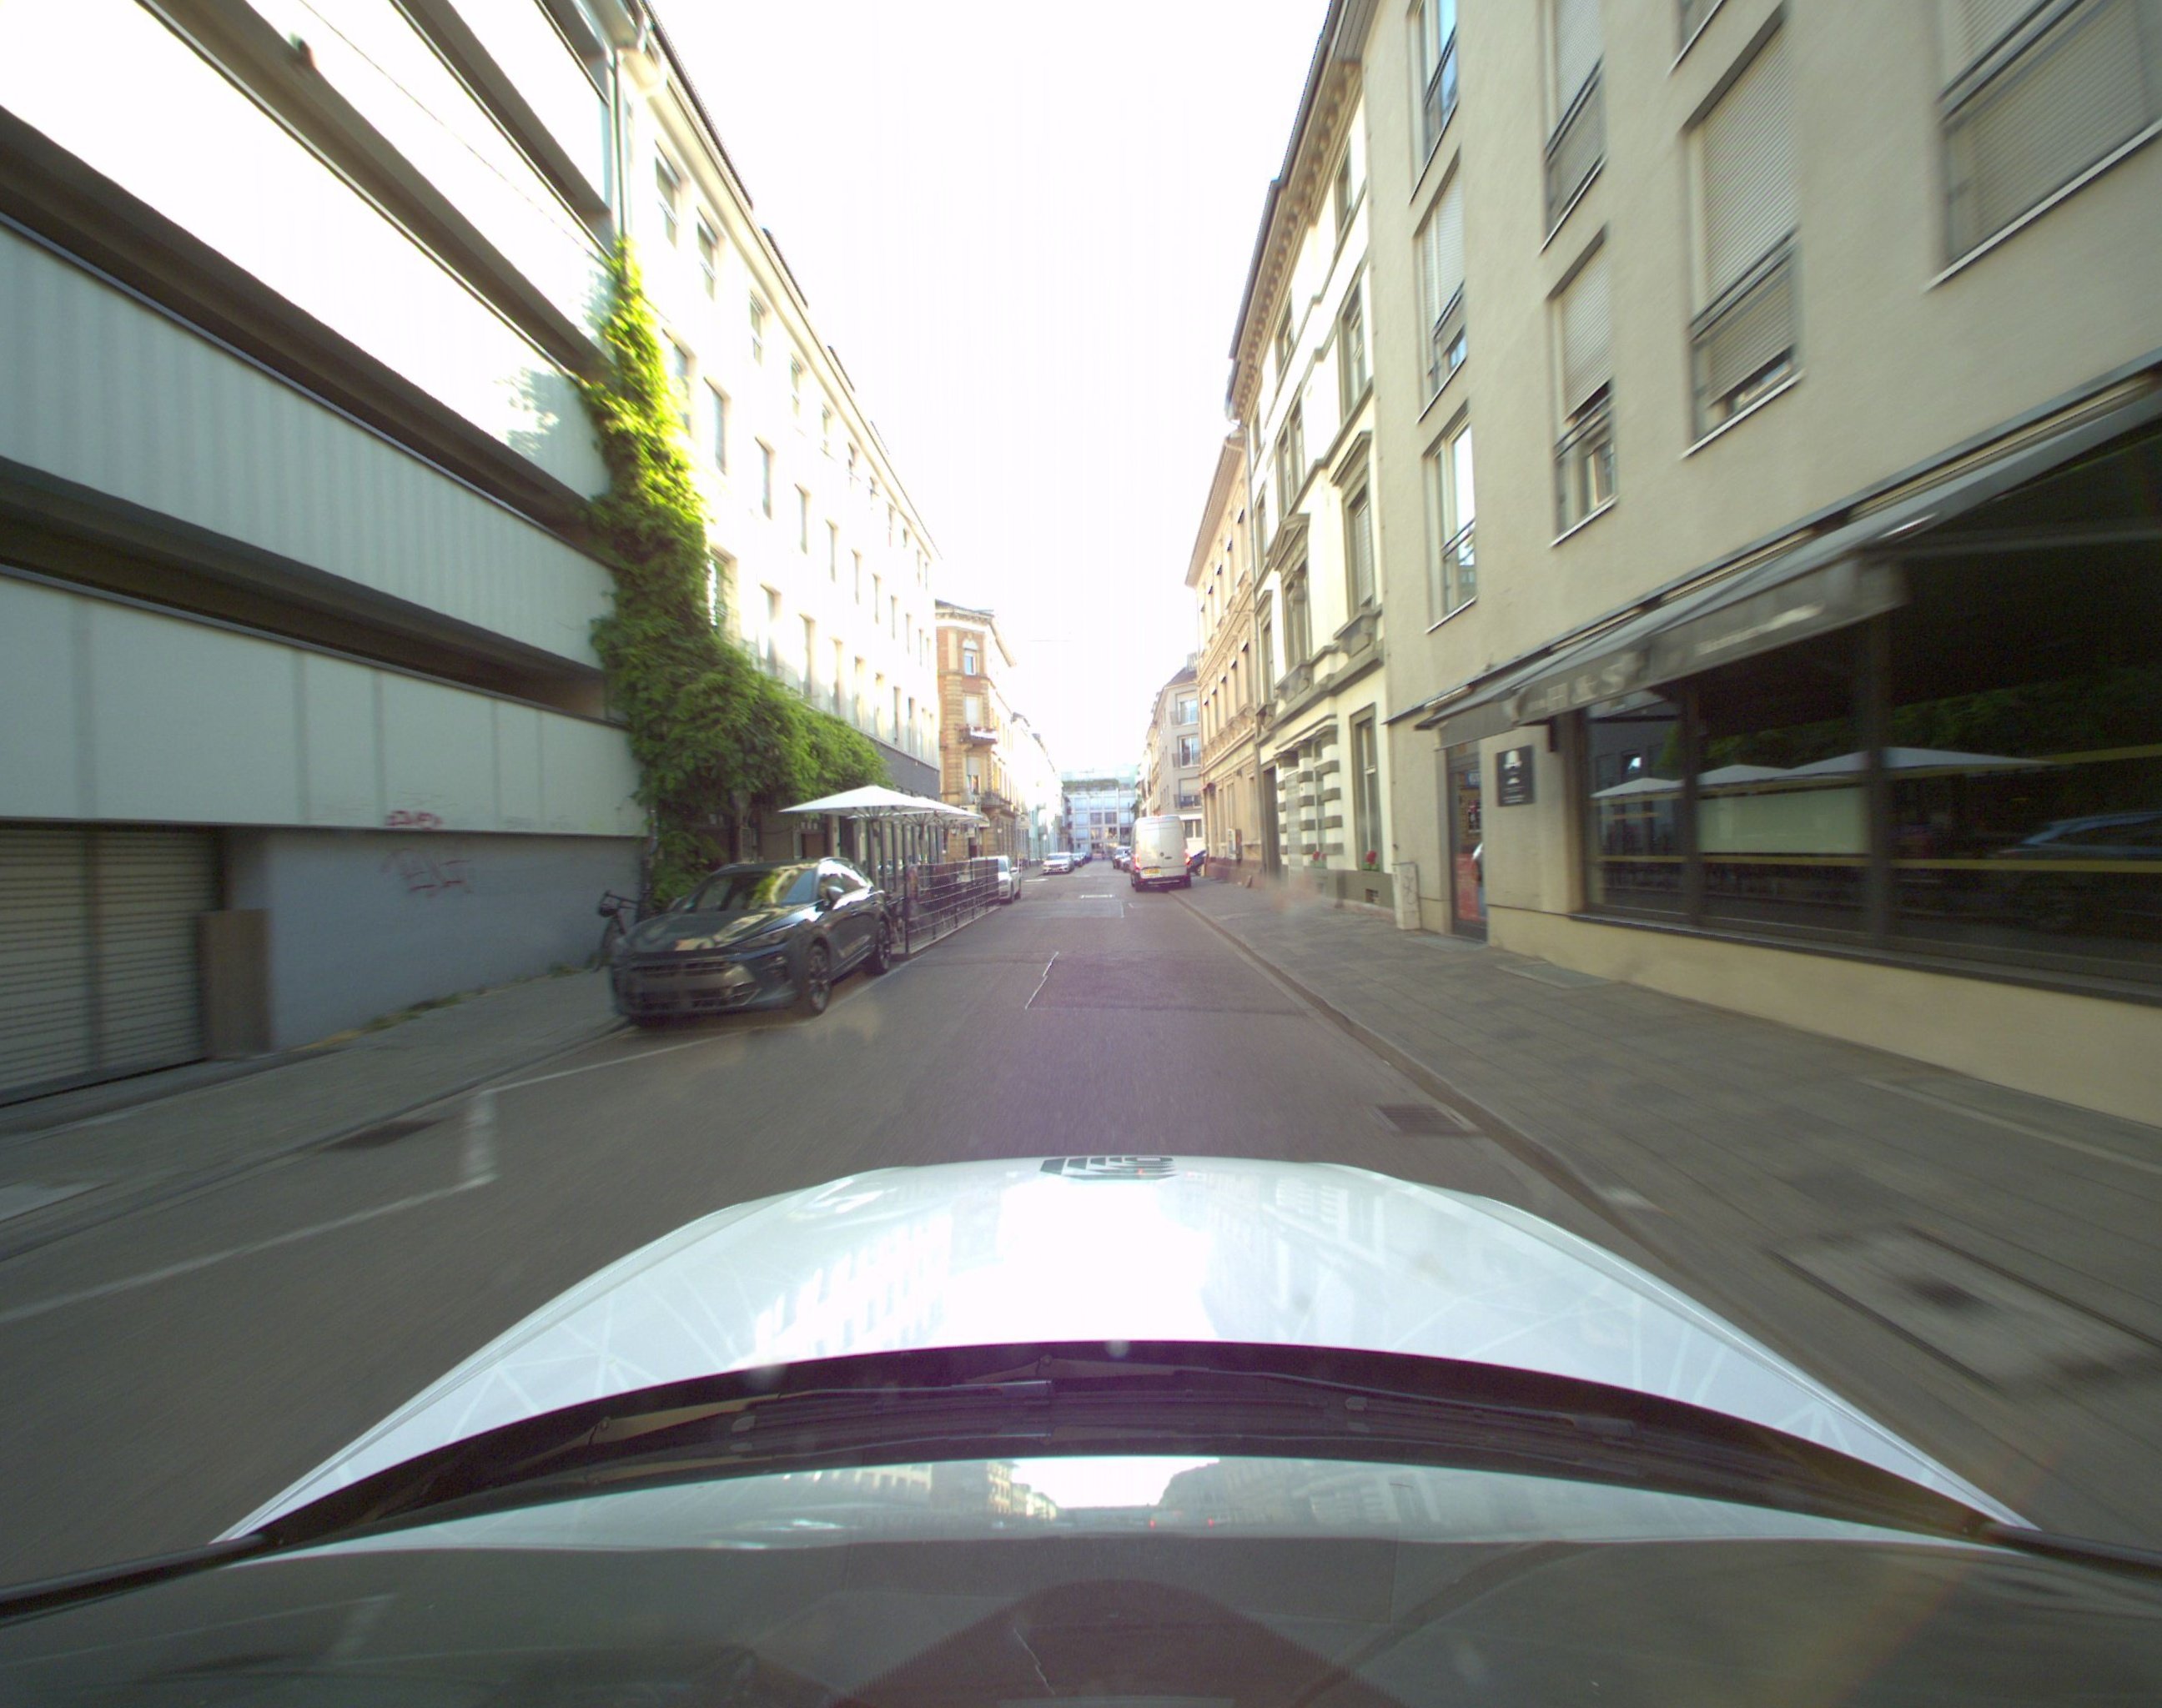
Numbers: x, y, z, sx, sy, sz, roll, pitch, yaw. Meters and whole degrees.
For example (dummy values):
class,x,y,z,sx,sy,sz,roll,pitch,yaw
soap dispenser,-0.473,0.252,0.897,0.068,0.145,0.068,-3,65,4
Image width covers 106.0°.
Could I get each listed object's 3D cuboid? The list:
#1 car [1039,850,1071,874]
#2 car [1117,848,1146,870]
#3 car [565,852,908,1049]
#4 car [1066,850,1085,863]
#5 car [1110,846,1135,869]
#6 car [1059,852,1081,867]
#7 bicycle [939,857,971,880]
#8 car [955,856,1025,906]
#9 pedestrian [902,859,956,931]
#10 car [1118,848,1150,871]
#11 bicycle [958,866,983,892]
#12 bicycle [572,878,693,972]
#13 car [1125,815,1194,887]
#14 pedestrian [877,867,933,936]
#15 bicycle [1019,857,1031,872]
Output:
class,x,y,z,sx,sy,sz,roll,pitch,yaw
car,-1.787,0.515,57.262,1.987,1.564,4.505,-2,0,0
car,3.817,0.369,62.111,1.956,1.557,3.890,-2,0,1
car,-3.528,0.840,9.536,1.875,1.568,4.770,-5,0,0
car,-0.705,0.300,97.913,2.166,1.418,3.999,-2,0,-1
car,3.425,0.241,67.540,1.887,1.784,4.000,-2,0,1
car,-1.027,0.553,80.136,1.986,1.355,4.430,-2,0,1
bicycle,-7.526,0.874,48.787,1.753,1.275,0.660,-2,3,-3
car,-2.790,0.791,25.733,1.652,1.414,3.883,-2,0,1
pedestrian,-2.877,0.760,15.535,0.778,1.287,0.916,-3,0,2
car,3.622,0.355,56.041,1.931,1.372,3.789,-4,0,0
bicycle,-4.163,0.918,30.769,0.594,0.905,1.645,-2,0,3
bicycle,-6.388,0.970,11.724,0.640,1.160,1.795,-2,0,3
car,2.910,-0.117,31.494,2.268,2.439,6.208,-2,0,3
pedestrian,-3.120,0.831,14.480,0.546,1.165,0.746,-2,0,34
bicycle,-4.721,0.882,68.678,0.735,1.160,2.462,-2,0,2
